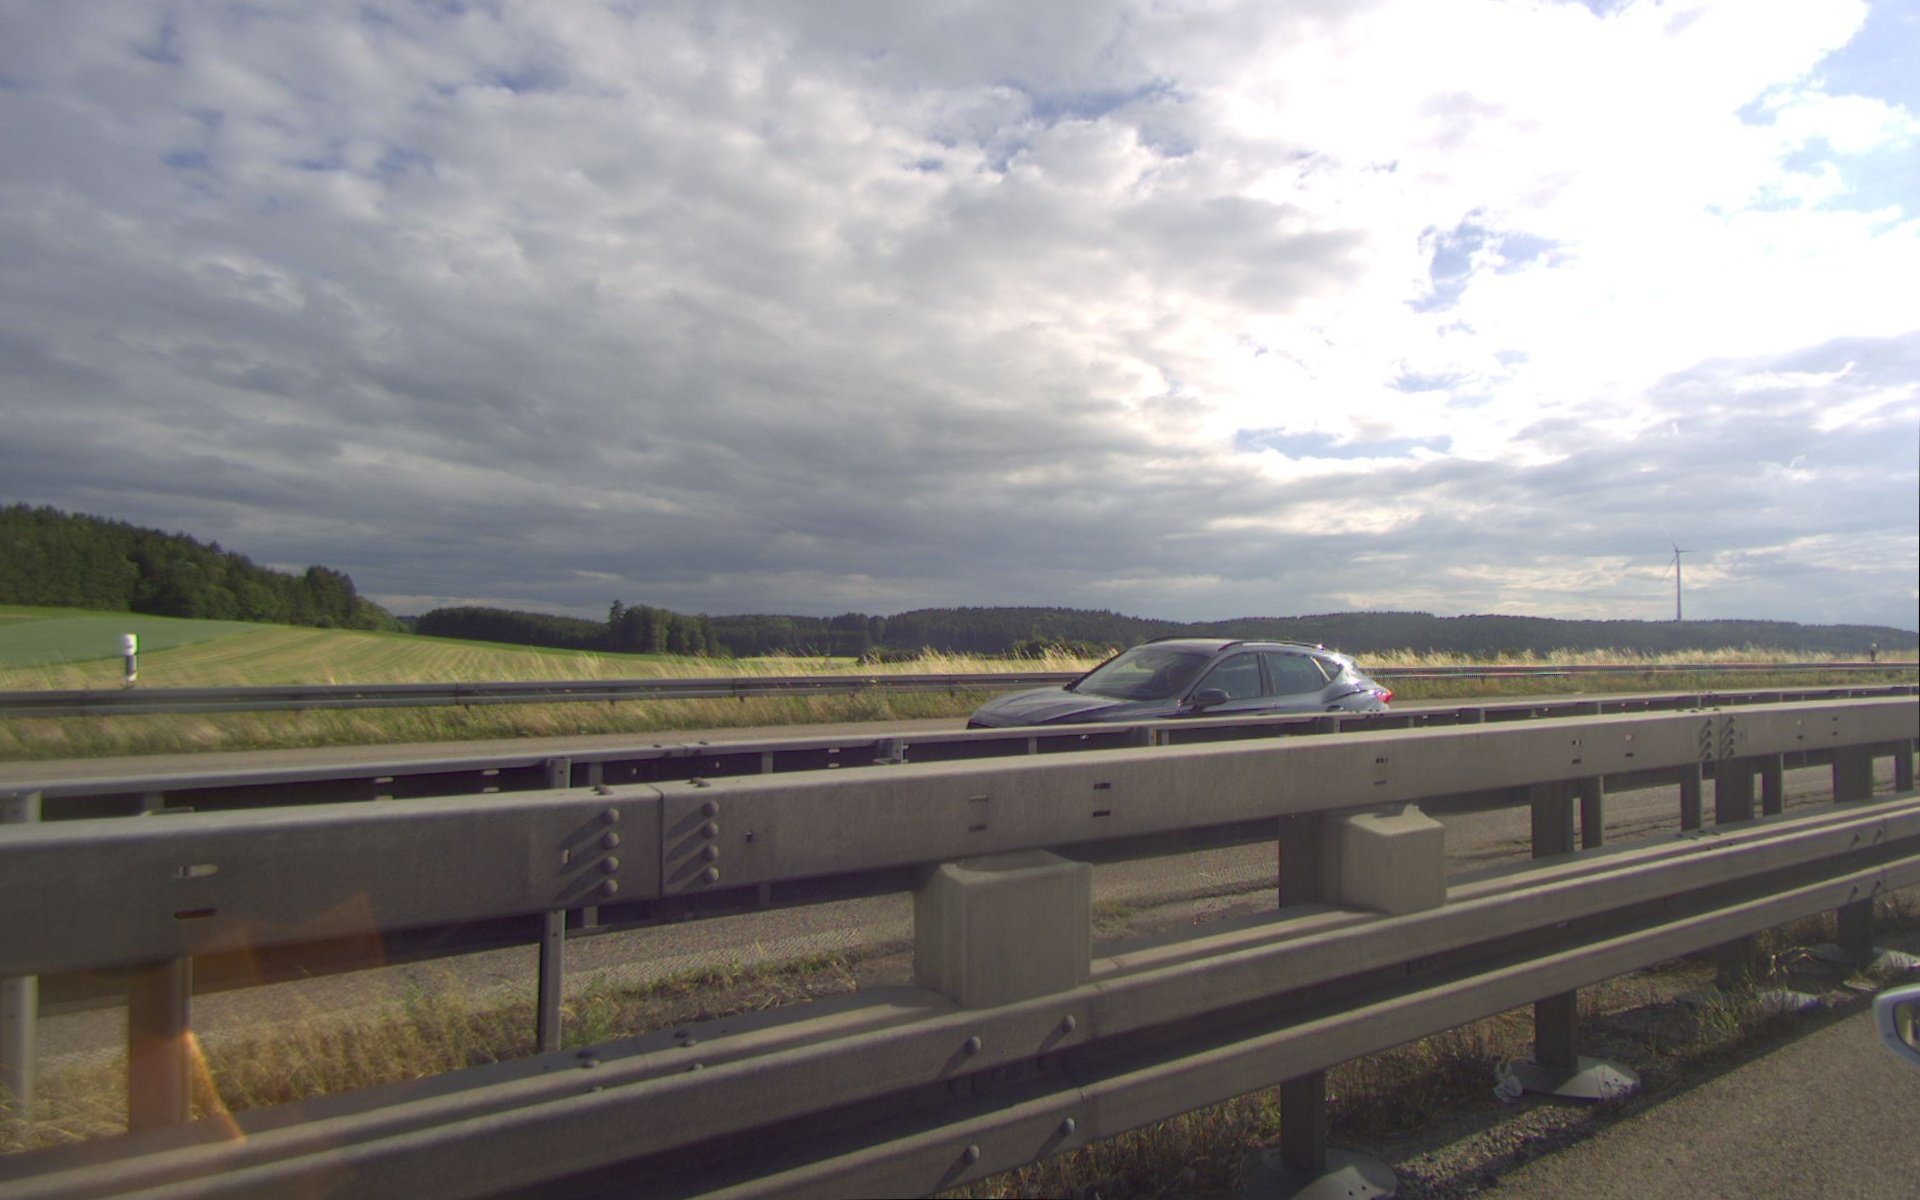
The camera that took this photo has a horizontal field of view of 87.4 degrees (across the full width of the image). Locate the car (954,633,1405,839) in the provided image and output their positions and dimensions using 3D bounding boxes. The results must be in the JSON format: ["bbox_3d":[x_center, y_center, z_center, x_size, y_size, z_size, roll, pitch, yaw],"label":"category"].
[{"bbox_3d":[2.085,1.101,9.283,3.953,1.504,1.724,2,-1,-30],"label":"car"}]
